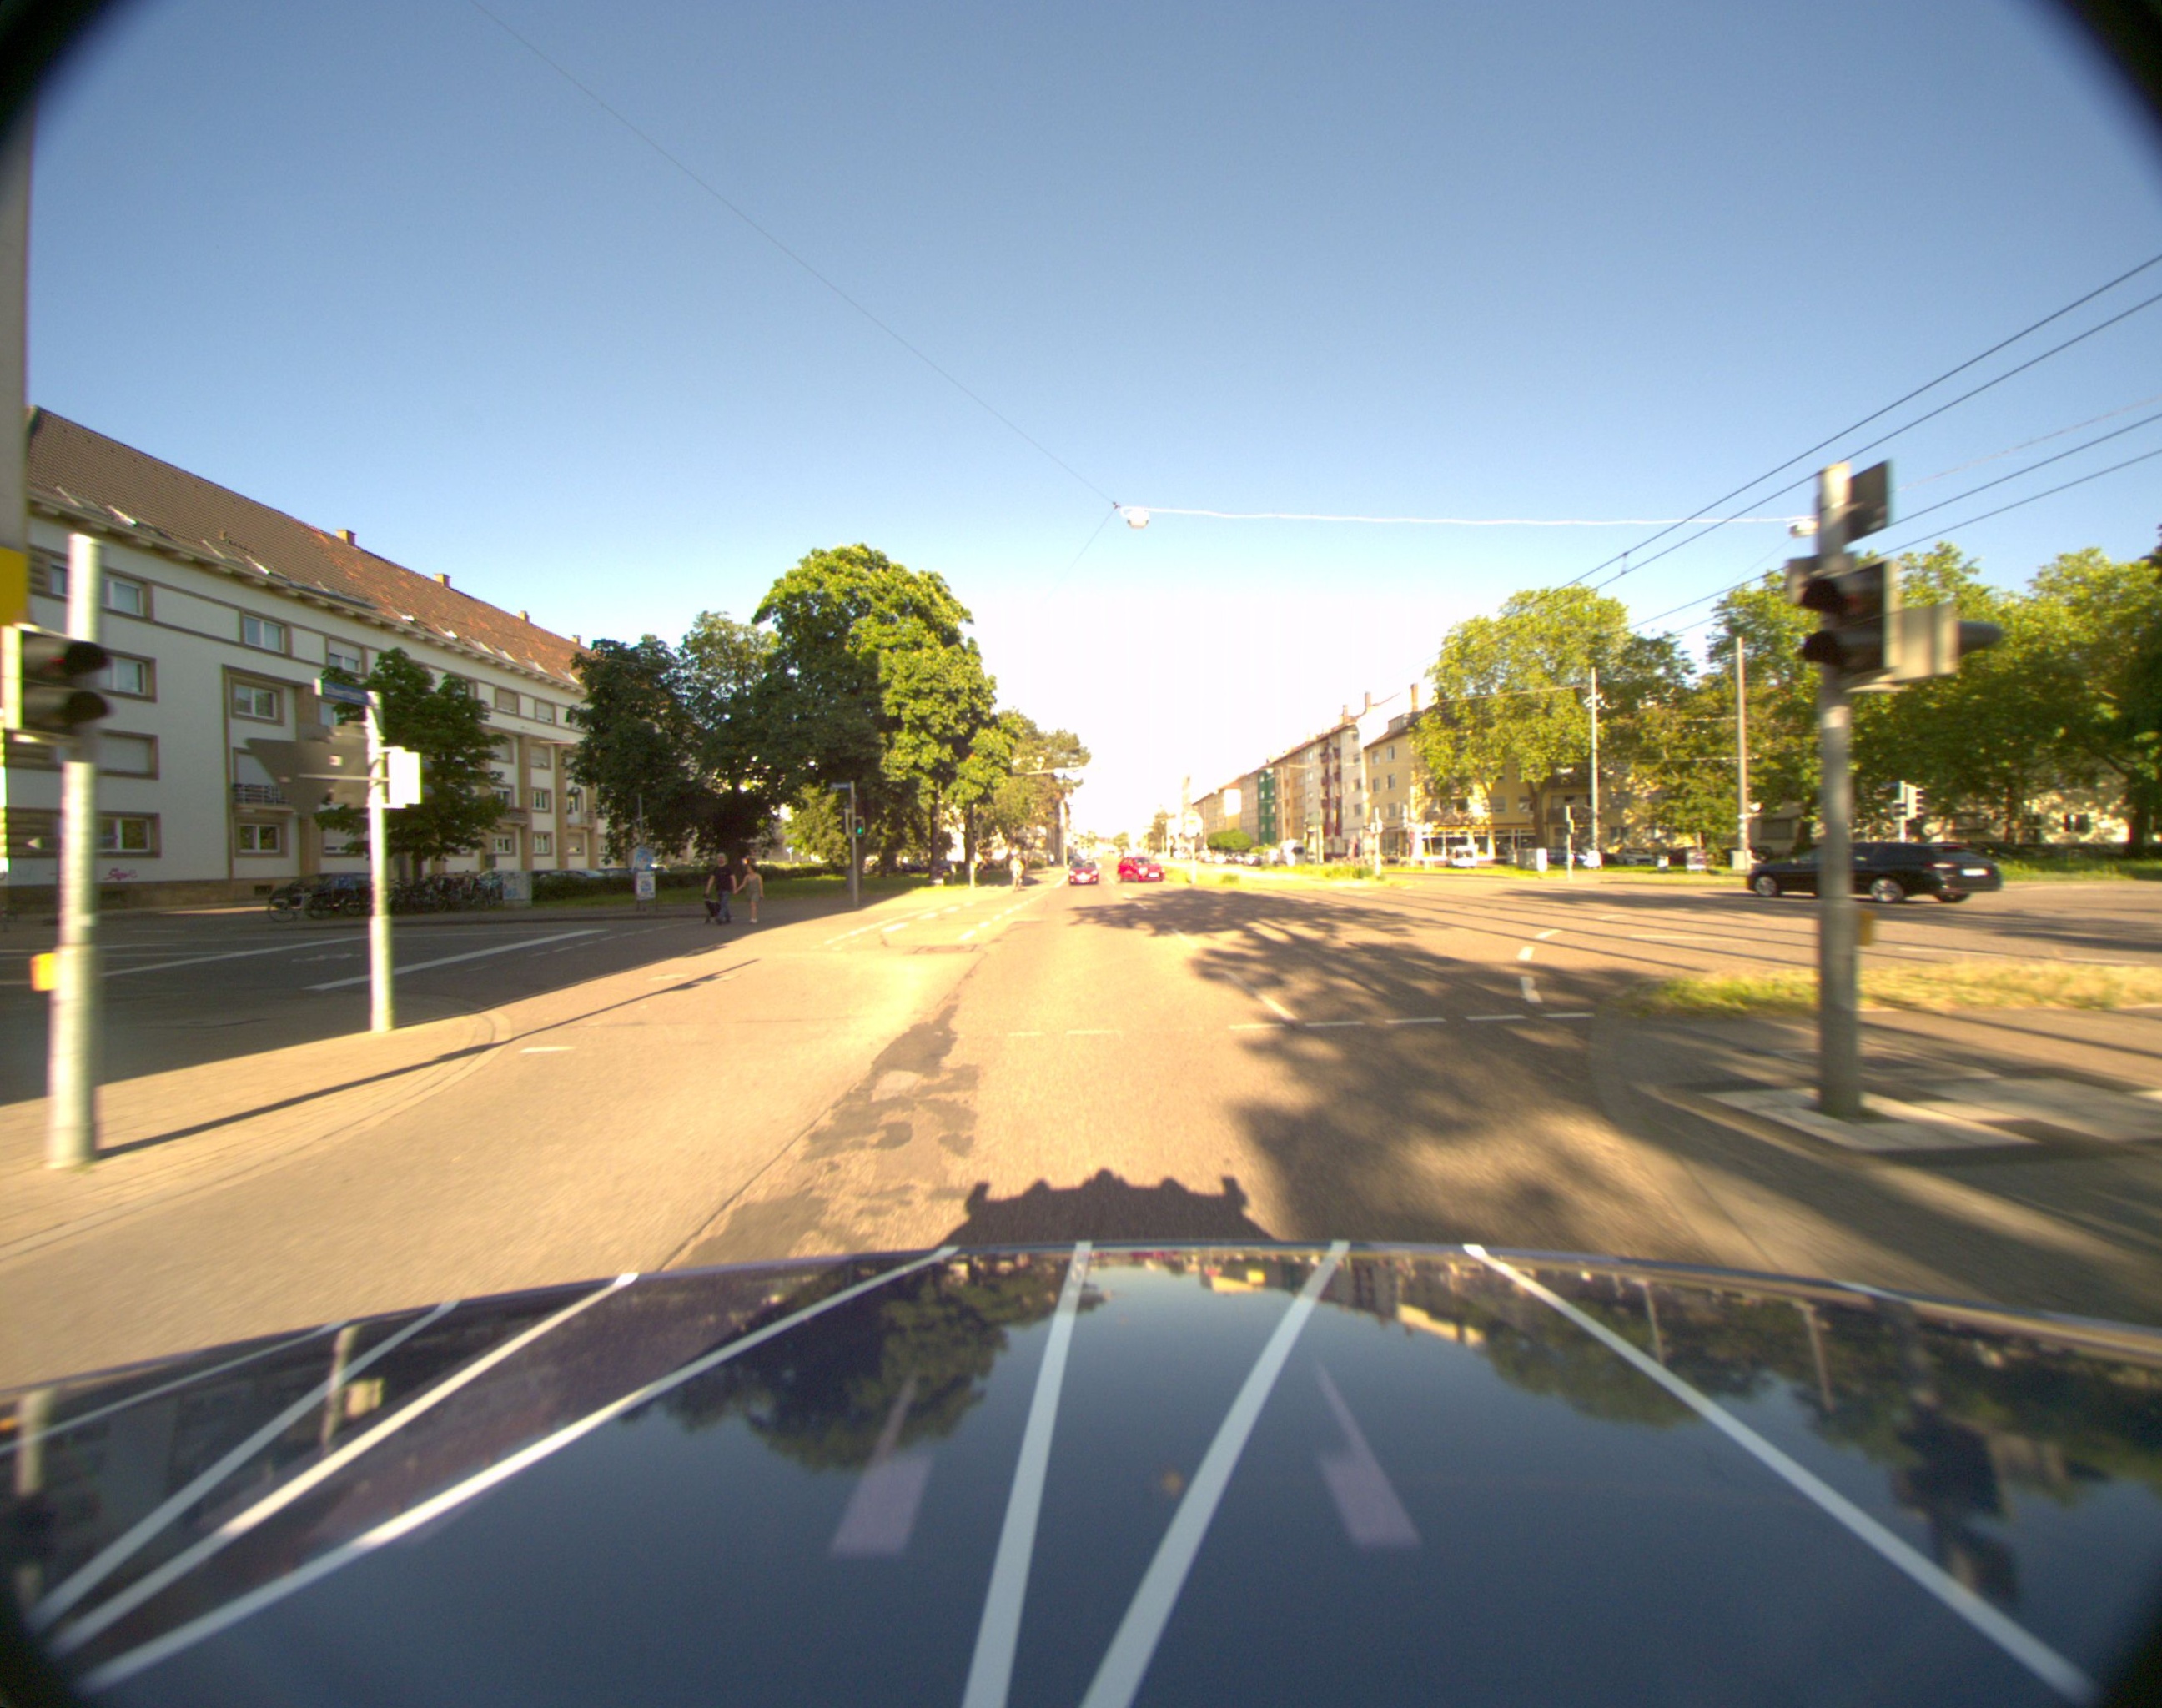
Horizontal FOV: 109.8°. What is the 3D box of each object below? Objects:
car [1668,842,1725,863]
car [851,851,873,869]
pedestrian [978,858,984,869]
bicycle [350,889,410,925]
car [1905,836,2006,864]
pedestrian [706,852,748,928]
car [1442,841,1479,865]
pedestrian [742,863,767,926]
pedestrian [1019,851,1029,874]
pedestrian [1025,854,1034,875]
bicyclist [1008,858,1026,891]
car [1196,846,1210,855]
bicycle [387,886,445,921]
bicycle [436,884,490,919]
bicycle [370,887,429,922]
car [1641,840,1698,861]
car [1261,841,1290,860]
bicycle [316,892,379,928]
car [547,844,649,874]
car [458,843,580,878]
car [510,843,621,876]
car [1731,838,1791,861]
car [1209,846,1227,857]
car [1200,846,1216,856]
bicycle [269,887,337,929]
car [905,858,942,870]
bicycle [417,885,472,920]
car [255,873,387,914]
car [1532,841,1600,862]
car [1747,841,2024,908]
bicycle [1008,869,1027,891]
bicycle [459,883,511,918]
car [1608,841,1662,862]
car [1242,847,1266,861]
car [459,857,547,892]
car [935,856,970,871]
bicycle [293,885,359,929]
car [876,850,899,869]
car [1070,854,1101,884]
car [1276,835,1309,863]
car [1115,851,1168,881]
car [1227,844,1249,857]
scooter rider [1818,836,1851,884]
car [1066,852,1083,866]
[{"bbox_3d":[40.336,-0.140,49.881,1.641,1.300,4.005,-1,1,19],"label":"car"},{"bbox_3d":[-21.939,0.574,76.274,2.001,1.689,4.271,-1,0,-16],"label":"car"},{"bbox_3d":[-9.553,0.917,72.805,0.459,1.072,0.613,-1,1,0],"label":"pedestrian"},{"bbox_3d":[-24.048,1.790,26.096,0.365,1.088,1.829,-1,0,-1],"label":"bicycle"},{"bbox_3d":[52.089,-0.239,45.388,1.997,1.543,3.938,-1,0,12],"label":"car"},{"bbox_3d":[-8.792,0.866,18.913,0.790,1.817,1.032,0,1,-16],"label":"pedestrian"},{"bbox_3d":[32.147,-0.108,64.472,1.909,1.871,4.003,-1,0,12],"label":"car"},{"bbox_3d":[-8.217,1.014,19.119,0.505,1.537,0.518,0,1,-16],"label":"pedestrian"},{"bbox_3d":[-4.166,0.611,55.152,0.567,1.688,0.595,-2,1,-17],"label":"pedestrian"},{"bbox_3d":[-3.691,0.755,54.469,0.596,1.518,0.633,-1,1,-9],"label":"pedestrian"},{"bbox_3d":[-2.906,0.925,34.604,0.678,1.466,0.936,-1,1,0],"label":"bicyclist"},{"bbox_3d":[22.898,-0.672,142.818,2.144,1.697,5.403,-1,0,3],"label":"car"},{"bbox_3d":[-22.788,1.685,26.080,0.365,1.088,1.829,-1,0,-1],"label":"bicycle"},{"bbox_3d":[-21.493,1.632,26.461,0.365,1.088,1.829,-1,0,-1],"label":"bicycle"},{"bbox_3d":[-23.377,1.708,26.097,0.365,1.088,1.829,-1,0,-1],"label":"bicycle"},{"bbox_3d":[46.194,-0.273,59.748,1.997,1.543,3.938,-1,0,12],"label":"car"},{"bbox_3d":[21.946,-0.350,85.976,2.144,2.022,5.158,-1,0,3],"label":"car"},{"bbox_3d":[-25.137,1.909,26.073,0.365,1.088,1.829,-1,0,-1],"label":"bicycle"},{"bbox_3d":[-24.969,0.253,39.369,3.996,1.440,2.000,-1,0,2],"label":"car"},{"bbox_3d":[-25.312,0.293,34.319,3.996,1.440,2.000,-1,0,2],"label":"car"},{"bbox_3d":[-24.986,0.261,36.936,3.996,1.440,2.000,-1,0,2],"label":"car"},{"bbox_3d":[51.668,-0.334,57.801,1.674,1.598,3.938,-1,0,12],"label":"car"},{"bbox_3d":[22.111,-0.397,123.149,2.144,1.697,5.446,-1,0,3],"label":"car"},{"bbox_3d":[22.762,-0.564,136.266,2.144,1.697,5.403,-1,0,3],"label":"car"},{"bbox_3d":[-26.453,1.816,25.871,0.433,1.278,1.829,-1,0,-1],"label":"bicycle"},{"bbox_3d":[-15.036,0.938,72.916,1.997,1.060,4.280,-1,0,10],"label":"car"},{"bbox_3d":[-21.975,1.652,26.273,0.365,1.088,1.829,-1,0,-1],"label":"bicycle"},{"bbox_3d":[-33.700,1.695,33.888,1.846,1.560,3.999,-1,0,-1],"label":"car"},{"bbox_3d":[35.116,-0.195,55.117,3.990,1.429,1.720,-1,1,24],"label":"car"},{"bbox_3d":[19.766,0.453,19.043,1.955,1.433,4.527,-1,0,-5],"label":"car"},{"bbox_3d":[-2.896,1.192,34.696,0.684,0.925,1.736,-1,0,0],"label":"bicycle"},{"bbox_3d":[-20.811,1.603,26.583,0.365,1.088,1.829,-1,0,-1],"label":"bicycle"},{"bbox_3d":[43.859,-0.181,60.223,1.997,1.543,3.938,-1,0,12],"label":"car"},{"bbox_3d":[22.219,0.020,97.671,2.144,1.697,5.158,-1,0,3],"label":"car"},{"bbox_3d":[-33.321,1.143,43.940,1.999,1.833,3.999,-1,0,-1],"label":"car"},{"bbox_3d":[-12.201,0.862,72.404,1.997,1.316,4.280,-1,0,10],"label":"car"},{"bbox_3d":[-25.816,1.790,26.022,0.433,1.379,1.829,-1,0,-1],"label":"bicycle"},{"bbox_3d":[-19.001,0.532,74.835,2.001,1.689,4.272,-2,0,-12],"label":"car"},{"bbox_3d":[0.288,0.804,42.710,1.619,1.536,4.277,-1,0,2],"label":"car"},{"bbox_3d":[21.838,-0.518,78.679,2.230,2.808,5.230,-1,0,3],"label":"car"},{"bbox_3d":[3.343,0.629,42.325,1.545,1.522,3.597,-4,1,-19],"label":"car"},{"bbox_3d":[22.185,-0.506,107.442,2.144,1.697,5.446,-1,0,3],"label":"car"},{"bbox_3d":[26.803,0.225,27.035,0.596,1.685,0.573,-1,1,-5],"label":"scooter rider"},{"bbox_3d":[-0.803,0.641,98.788,1.998,1.806,4.000,-2,0,0],"label":"car"}]
